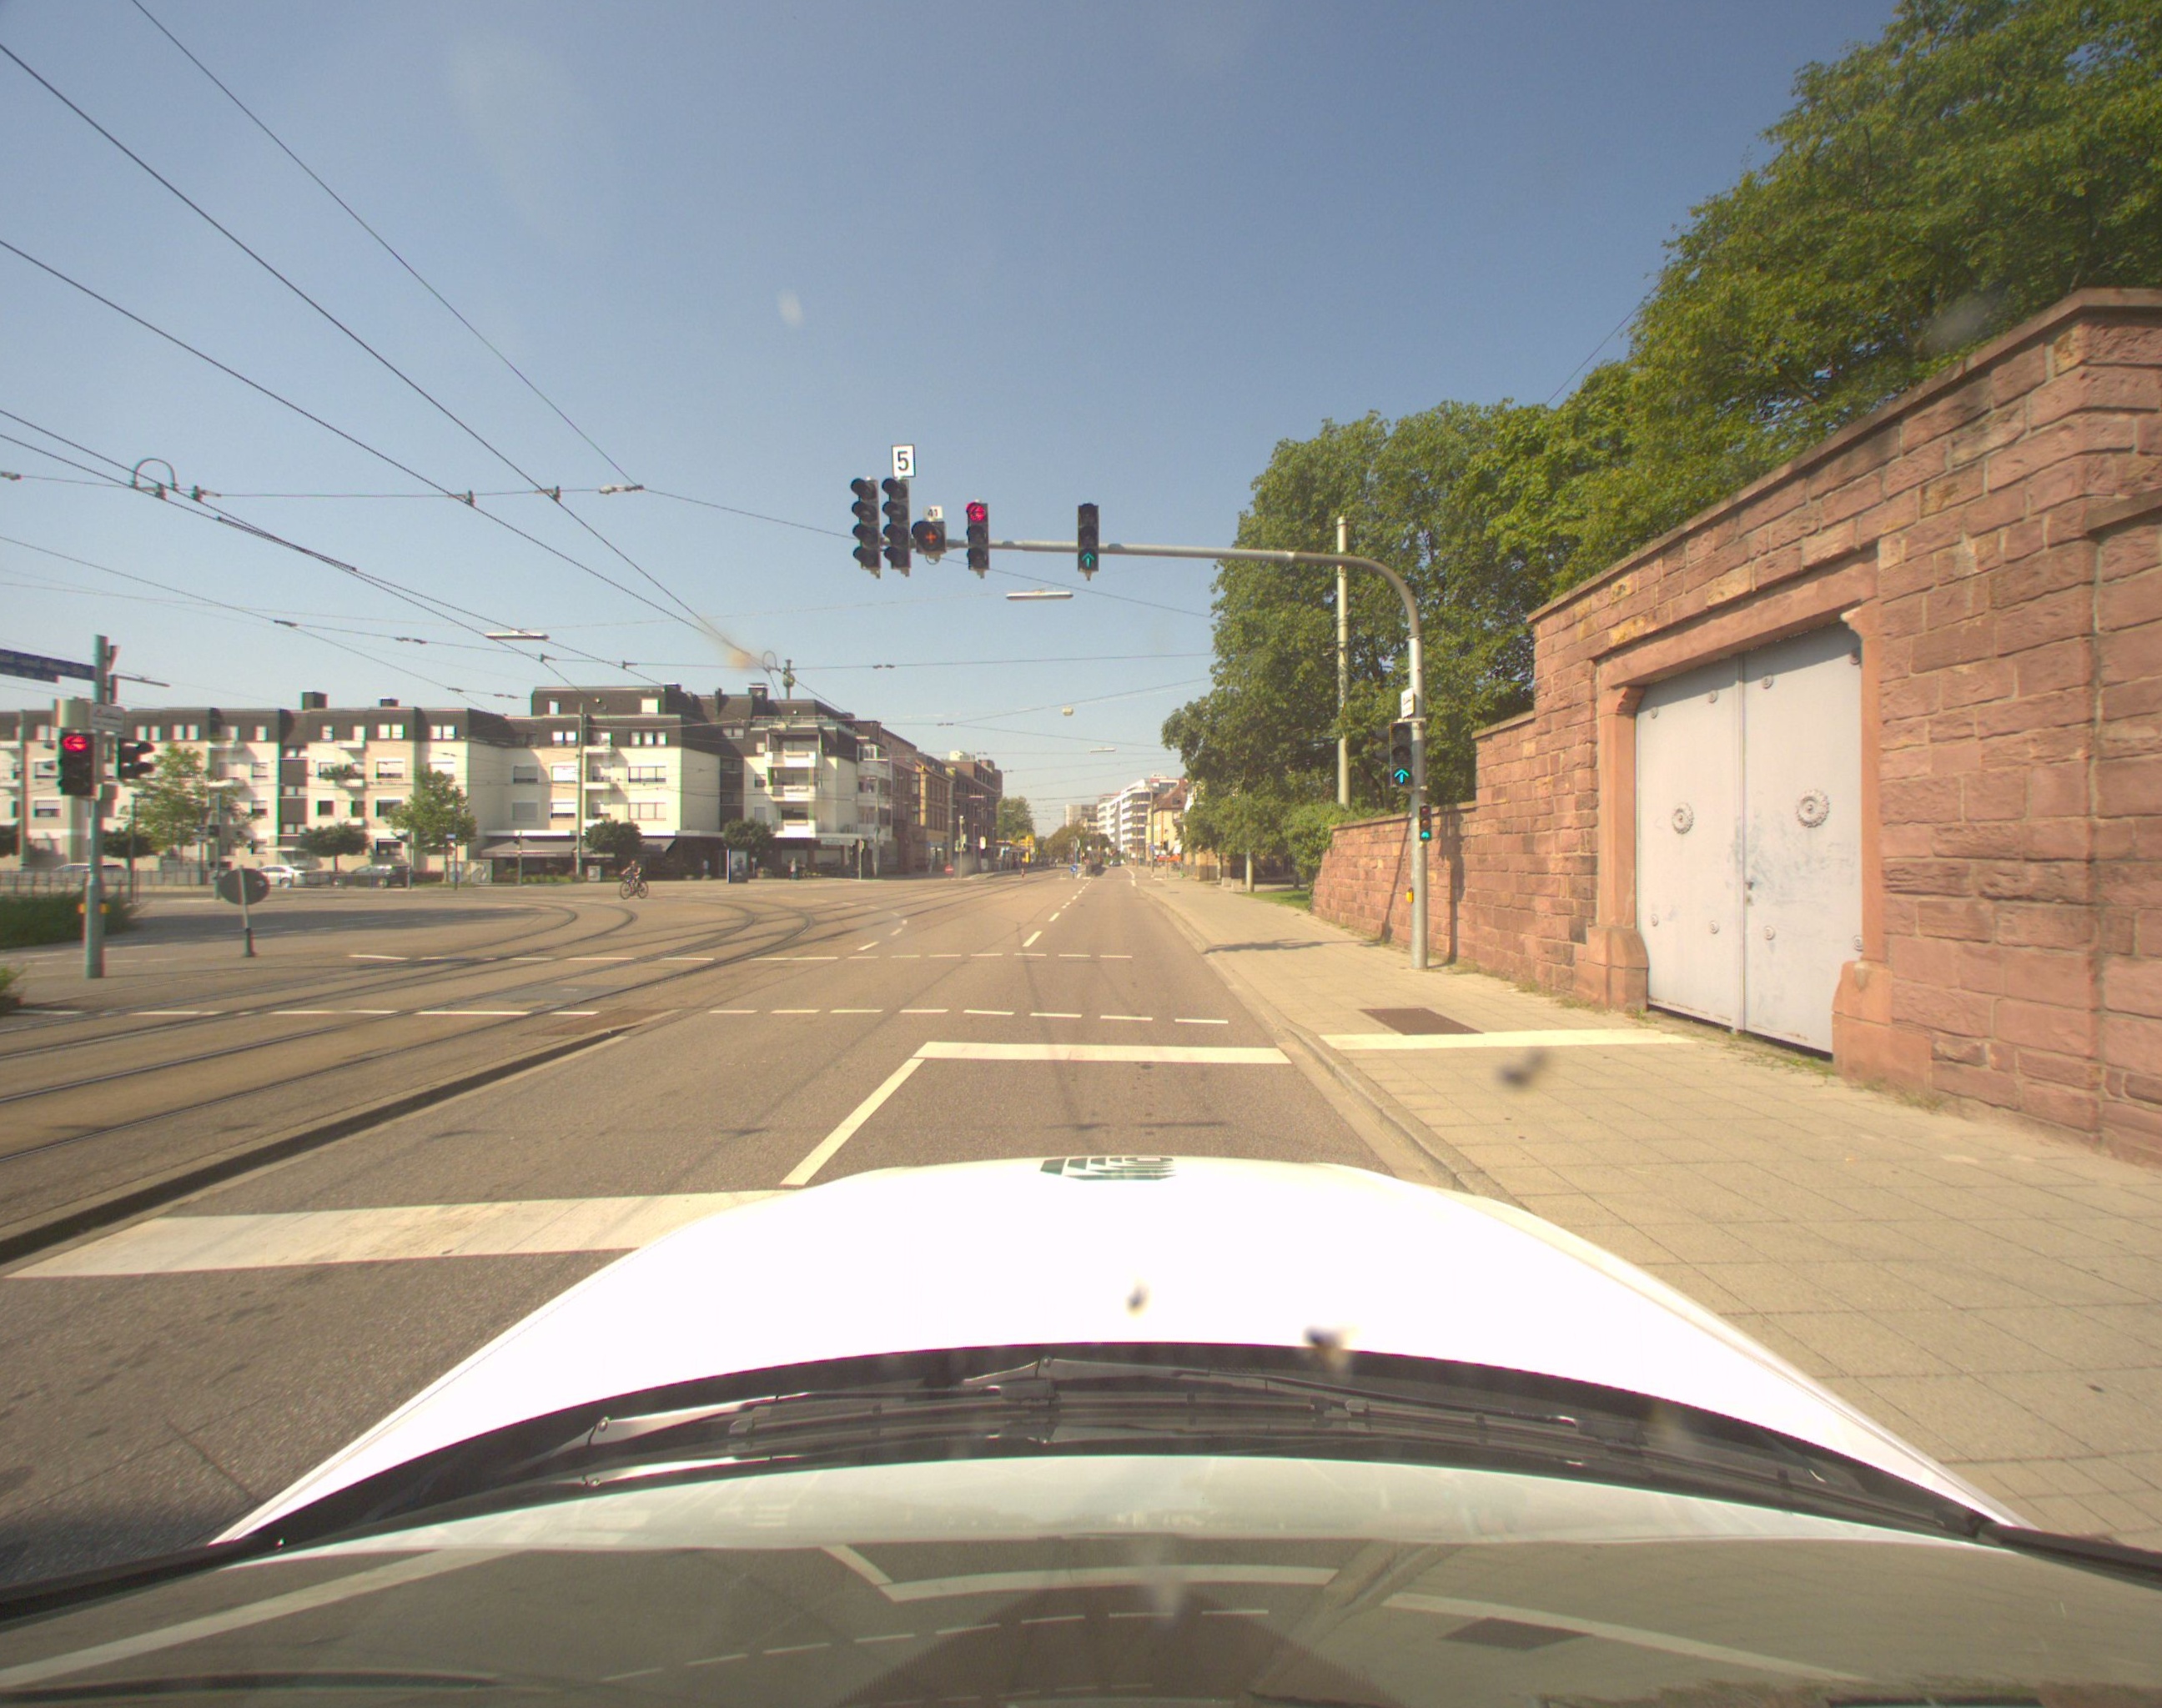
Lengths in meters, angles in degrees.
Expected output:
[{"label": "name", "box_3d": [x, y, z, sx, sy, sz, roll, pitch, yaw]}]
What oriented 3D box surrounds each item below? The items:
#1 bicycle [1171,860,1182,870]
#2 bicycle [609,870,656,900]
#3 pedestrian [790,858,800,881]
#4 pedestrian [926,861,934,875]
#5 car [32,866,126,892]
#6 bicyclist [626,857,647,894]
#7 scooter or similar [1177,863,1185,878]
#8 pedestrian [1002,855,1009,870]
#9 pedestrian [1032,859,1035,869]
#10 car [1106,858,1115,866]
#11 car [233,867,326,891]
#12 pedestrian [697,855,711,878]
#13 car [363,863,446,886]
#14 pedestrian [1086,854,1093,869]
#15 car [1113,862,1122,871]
[{"label": "bicycle", "box_3d": [11.371, 1.327, 97.441, 0.730, 1.133, 2.835, -4, -1, -5]}, {"label": "bicycle", "box_3d": [-18.741, 1.274, 34.121, 0.572, 1.179, 2.210, -2, 0, 4]}, {"label": "pedestrian", "box_3d": [-22.026, 1.169, 62.642, 0.602, 1.745, 0.560, -1, -1, -31]}, {"label": "pedestrian", "box_3d": [-17.022, 1.545, 91.912, 0.479, 1.560, 0.890, 1, -2, 14]}, {"label": "car", "box_3d": [-62.931, 1.542, 51.190, 3.890, 1.481, 1.673, -2, -1, 1]}, {"label": "bicyclist", "box_3d": [-18.739, 0.900, 34.307, 0.565, 1.523, 0.490, -2, -1, 4]}, {"label": "scooter or similar", "box_3d": [8.097, 1.333, 65.956, 0.521, 1.133, 1.512, -2, -1, 3]}, {"label": "pedestrian", "box_3d": [-8.924, 0.984, 96.588, 0.705, 1.723, 0.799, -2, -1, 3]}, {"label": "pedestrian", "box_3d": [-7.140, 1.544, 122.439, 0.531, 1.530, 0.700, -2, -1, -4]}, {"label": "car", "box_3d": [7.124, 1.994, 193.808, 2.002, 1.859, 4.004, -2, -1, 4]}, {"label": "car", "box_3d": [-49.639, 1.528, 50.481, 4.094, 1.299, 1.673, -2, -1, 1]}, {"label": "pedestrian", "box_3d": [-29.105, 0.979, 62.886, 0.676, 1.741, 0.698, -2, -1, 3]}, {"label": "car", "box_3d": [-46.749, 1.407, 56.372, 4.093, 1.507, 1.931, 1, -1, 1]}, {"label": "pedestrian", "box_3d": [0.971, 0.881, 95.544, 0.717, 1.703, 0.885, -2, -1, 3]}, {"label": "car", "box_3d": [8.377, 2.880, 187.490, 2.002, 1.859, 4.004, -2, -1, 4]}]
